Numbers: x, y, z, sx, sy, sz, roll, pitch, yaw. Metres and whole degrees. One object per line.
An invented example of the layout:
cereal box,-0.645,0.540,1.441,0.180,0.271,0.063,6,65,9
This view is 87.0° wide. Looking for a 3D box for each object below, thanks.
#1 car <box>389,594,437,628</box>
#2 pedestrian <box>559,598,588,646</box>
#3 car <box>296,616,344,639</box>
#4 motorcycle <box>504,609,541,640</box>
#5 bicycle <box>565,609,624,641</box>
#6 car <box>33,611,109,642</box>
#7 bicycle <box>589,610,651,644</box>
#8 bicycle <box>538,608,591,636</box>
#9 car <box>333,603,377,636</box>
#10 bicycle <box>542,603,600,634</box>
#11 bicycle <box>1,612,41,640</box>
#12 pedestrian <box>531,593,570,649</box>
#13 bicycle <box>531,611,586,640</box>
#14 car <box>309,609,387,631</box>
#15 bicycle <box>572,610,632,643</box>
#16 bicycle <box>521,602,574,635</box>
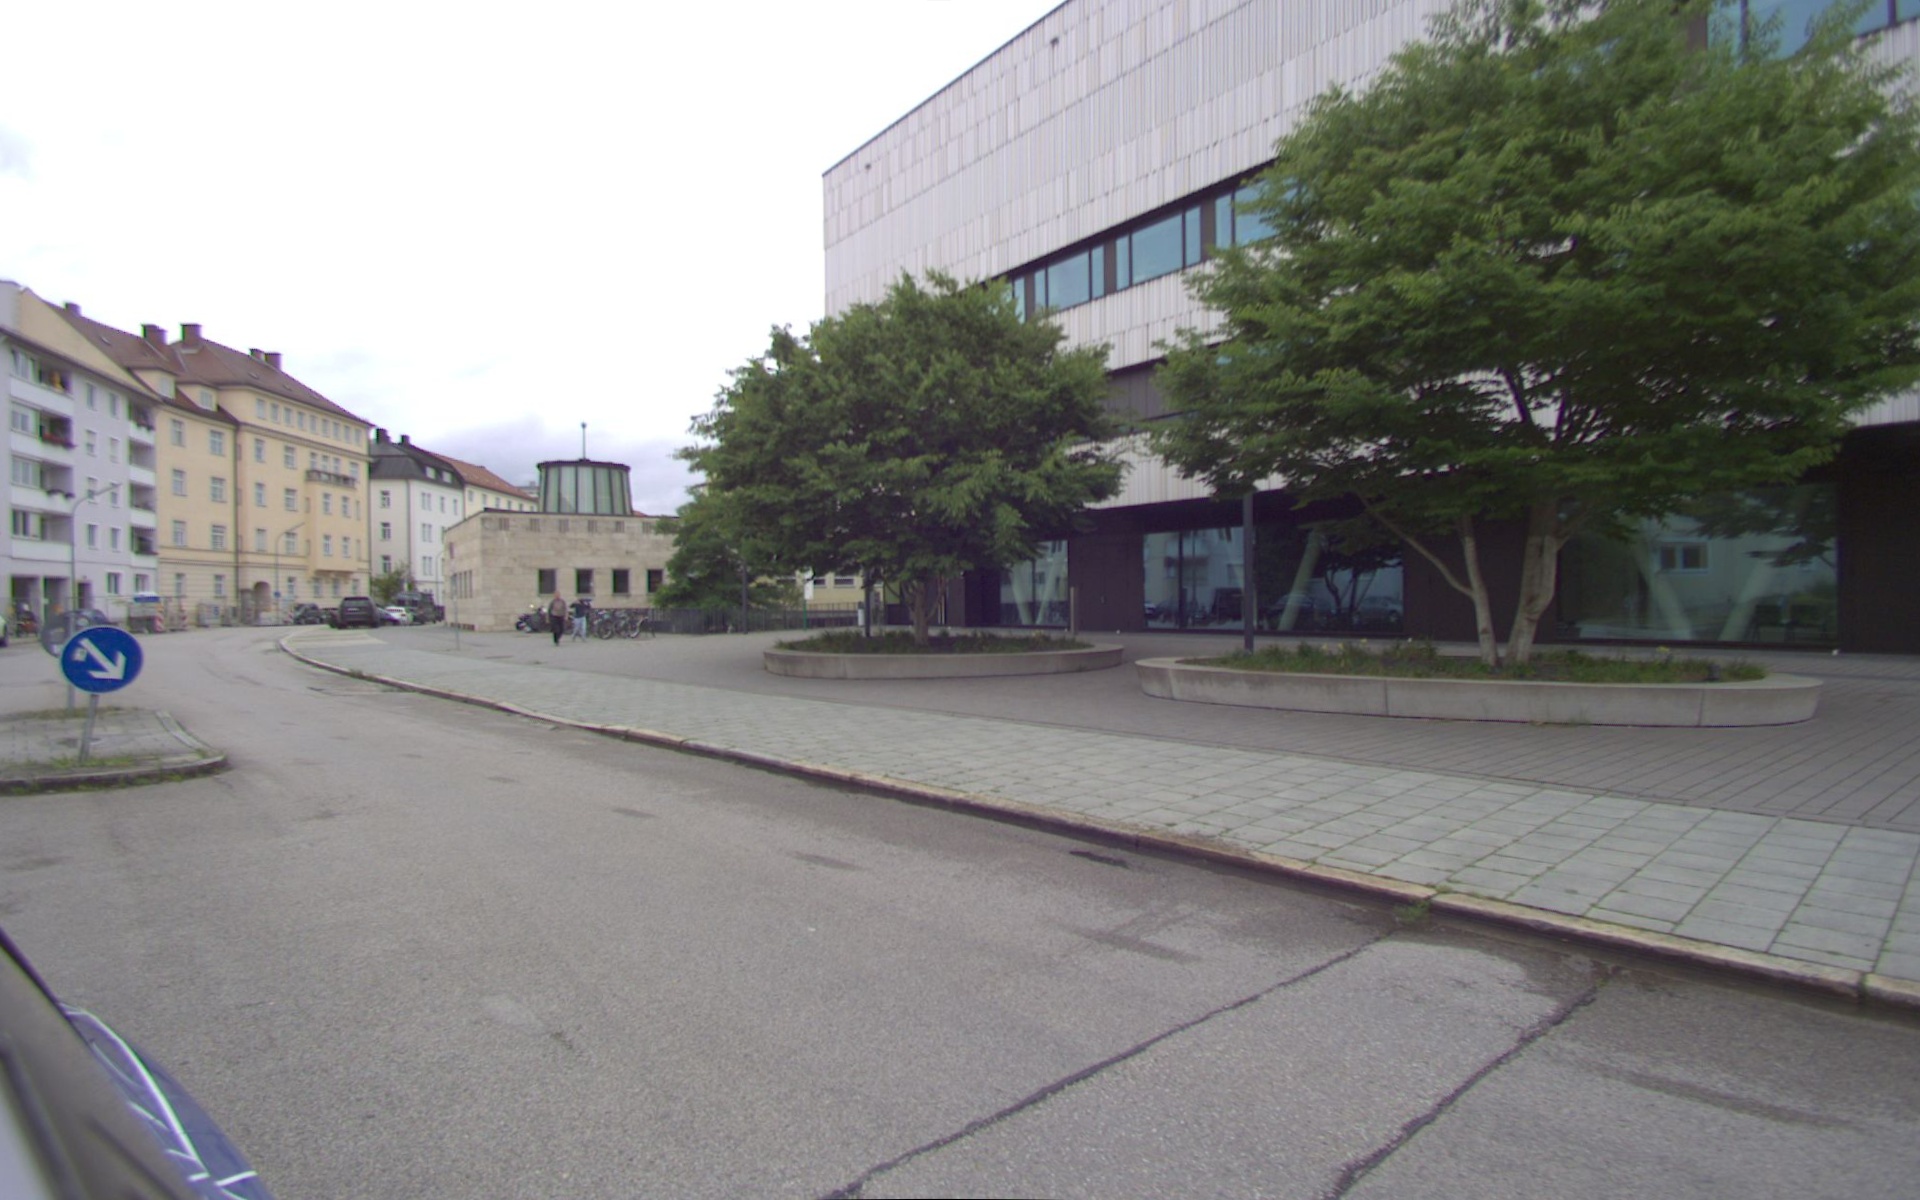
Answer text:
car,-43.776,0.877,81.173,2.114,2.593,6.230,1,-1,-17
pedestrian,-13.493,0.763,35.306,0.603,1.613,0.638,-3,0,28
car,-54.411,2.293,86.142,1.815,1.743,3.733,-3,0,-3
motorcycle,-21.340,1.176,49.345,1.543,1.416,0.516,-3,0,-36
bicycle,-14.174,0.960,39.266,2.020,1.119,0.618,-3,0,-41
car,-43.709,1.283,49.877,1.805,1.453,4.643,0,-1,-28
bicycle,-12.374,0.977,36.878,2.020,1.119,0.618,-3,0,-41
bicycle,-17.352,0.958,44.406,2.019,1.119,0.618,-3,0,-39
car,-34.746,1.133,58.220,1.966,1.785,4.829,-1,-1,-29
bicycle,-15.366,0.708,40.016,2.022,1.119,0.617,-3,0,-45
bicycle,-46.545,1.276,50.201,0.798,1.333,2.784,1,-1,-30
pedestrian,-13.425,0.668,33.204,1.014,1.796,0.778,0,2,42
bicycle,-16.982,1.075,42.812,2.018,1.119,0.618,-3,0,-34
car,-39.860,1.306,66.015,1.745,1.383,3.960,1,-1,34
bicycle,-13.406,0.975,37.939,2.020,1.119,0.618,-3,0,-41
bicycle,-18.661,0.827,45.825,2.071,1.362,0.615,-3,0,-38
